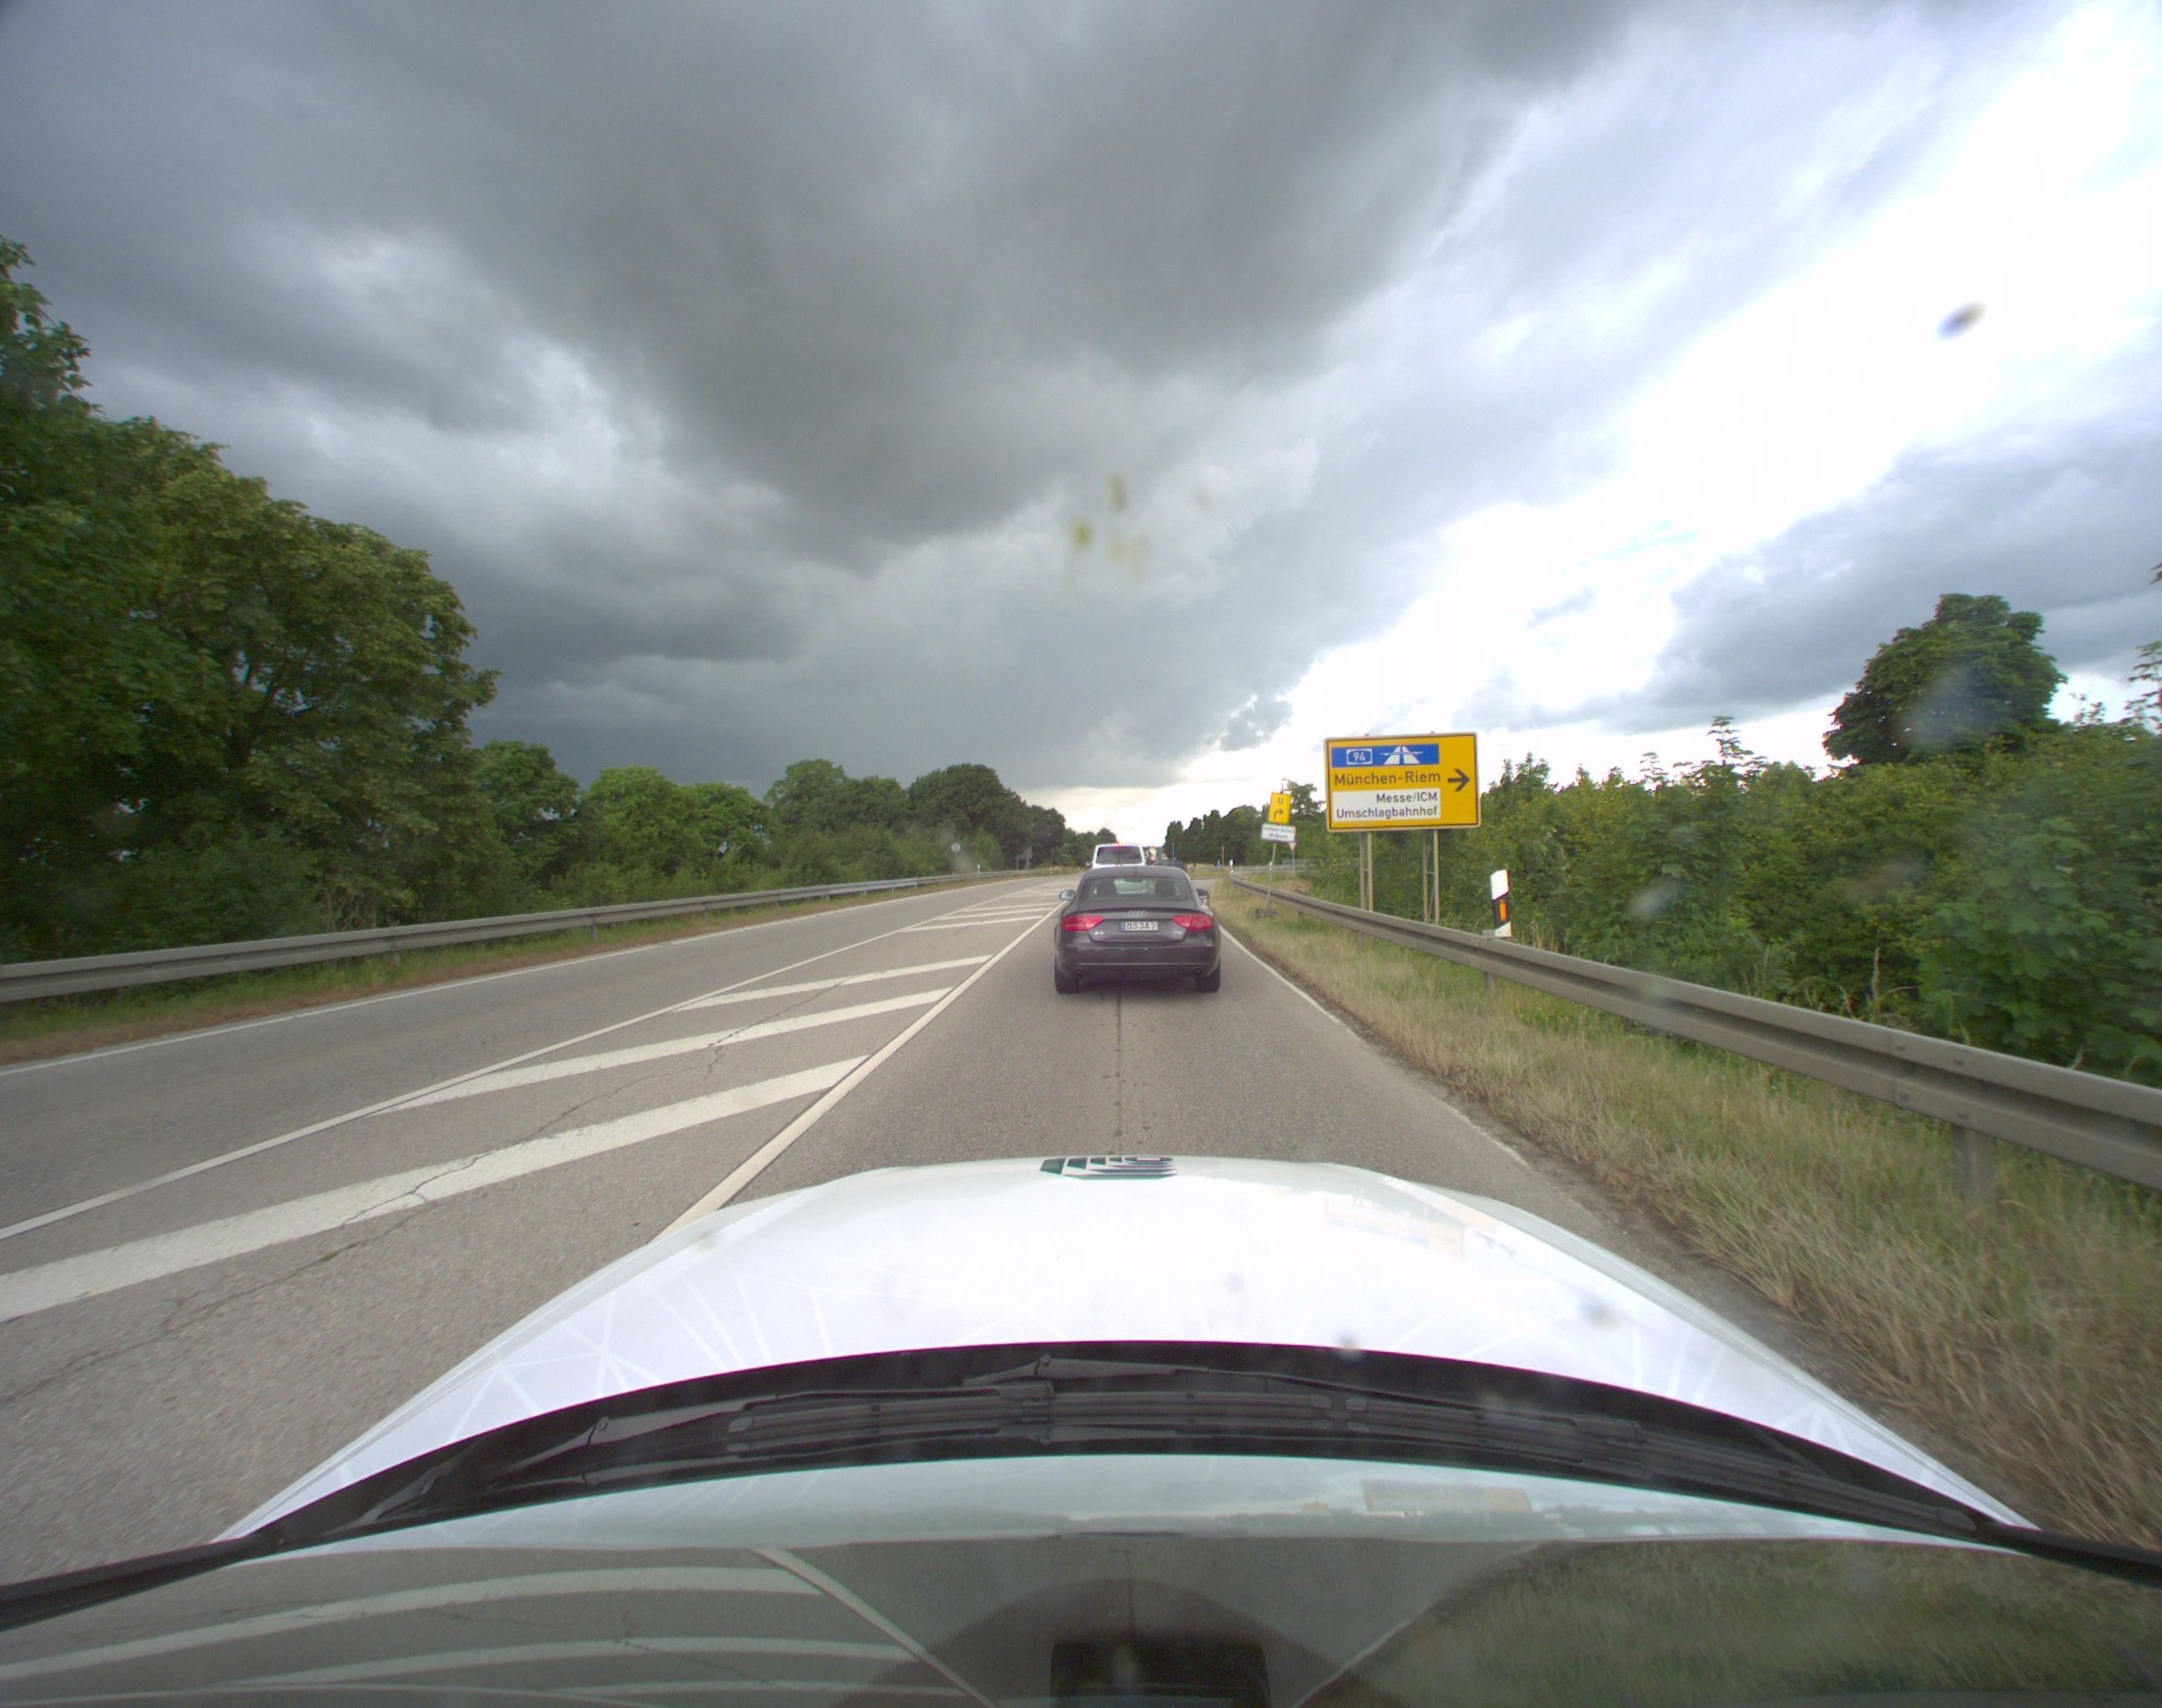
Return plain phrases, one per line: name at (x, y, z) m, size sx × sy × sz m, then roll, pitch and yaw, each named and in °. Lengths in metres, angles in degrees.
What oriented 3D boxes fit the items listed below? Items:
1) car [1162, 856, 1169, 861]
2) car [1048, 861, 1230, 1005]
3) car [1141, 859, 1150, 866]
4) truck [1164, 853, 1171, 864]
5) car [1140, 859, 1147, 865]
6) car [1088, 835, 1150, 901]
car at (26.697, 1.474, 257.363) m, size 1.984 × 1.692 × 4.005 m, roll -1°, pitch 0°, yaw 5°
car at (0.629, 0.797, 9.741) m, size 1.773 × 1.399 × 3.338 m, roll -1°, pitch 0°, yaw 2°
car at (16.022, 2.061, 202.134) m, size 2.197 × 1.582 × 4.381 m, roll -1°, pitch 0°, yaw 2°
truck at (25.484, 1.291, 239.013) m, size 1.984 × 2.918 × 5.802 m, roll -1°, pitch 0°, yaw 5°
car at (17.330, 2.183, 226.627) m, size 1.728 × 1.454 × 4.001 m, roll -1°, pitch 0°, yaw 1°
car at (1.252, 0.429, 27.121) m, size 1.903 × 2.013 × 4.002 m, roll -1°, pitch 0°, yaw 2°
